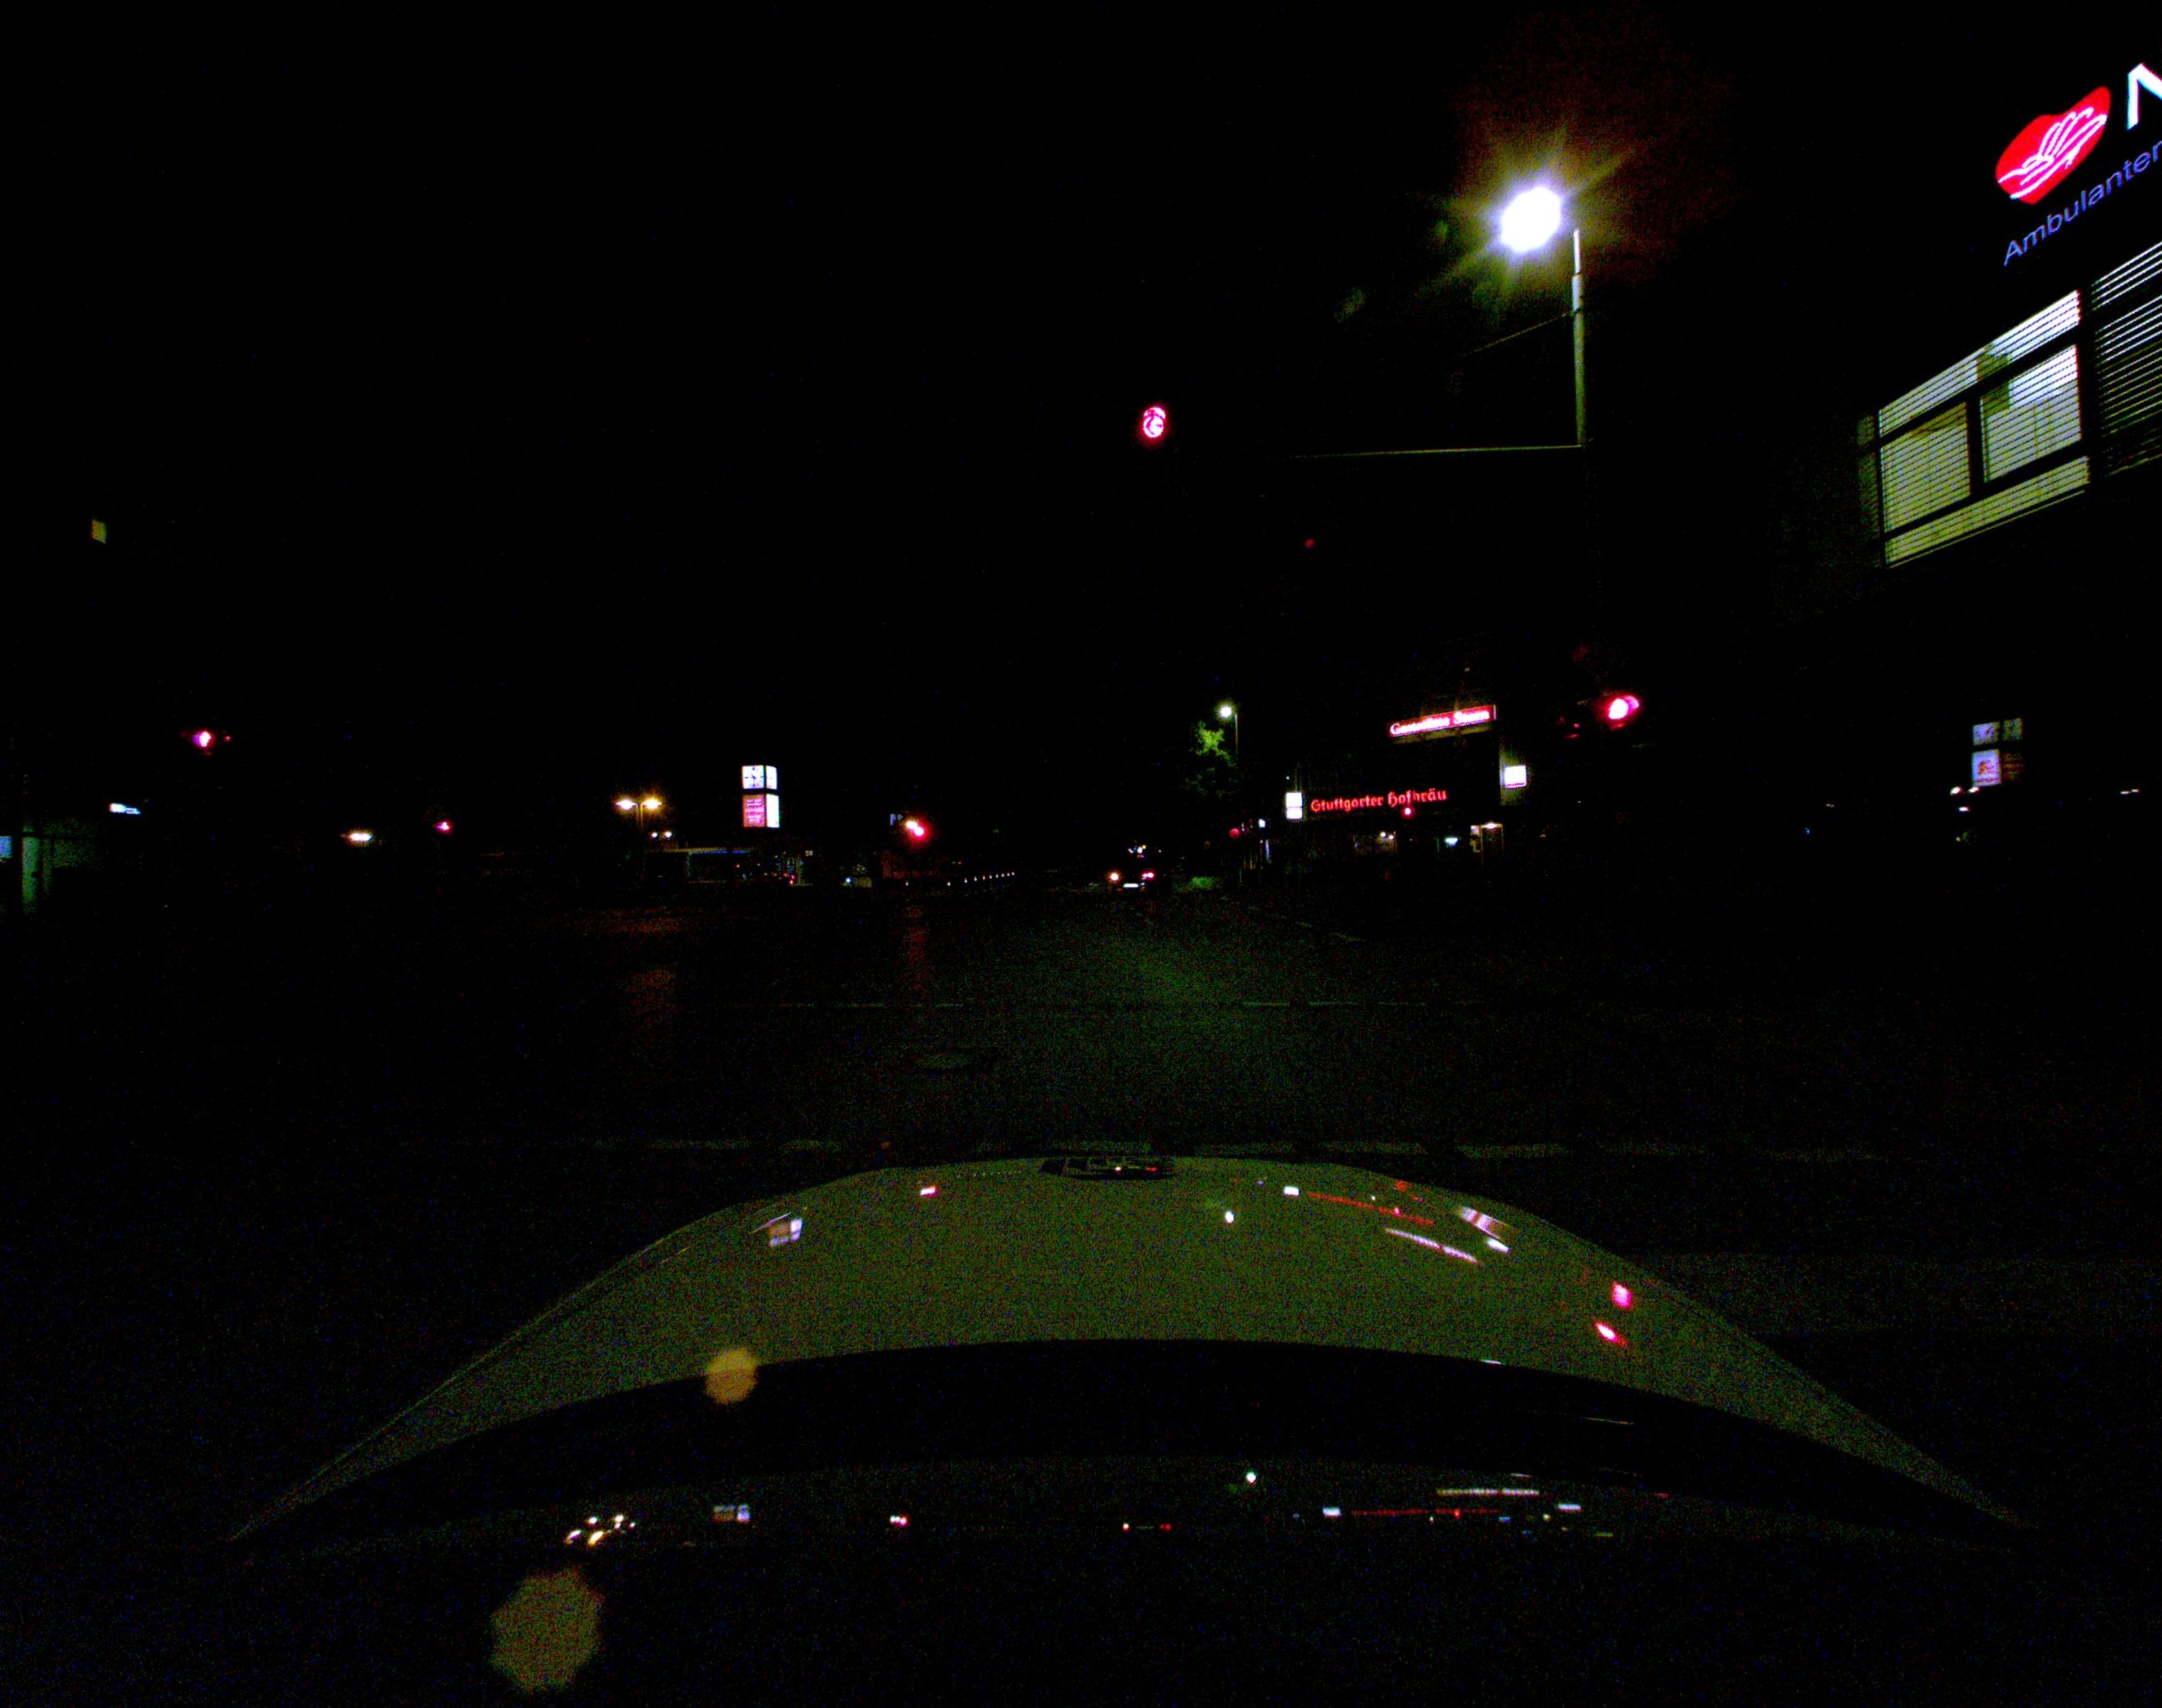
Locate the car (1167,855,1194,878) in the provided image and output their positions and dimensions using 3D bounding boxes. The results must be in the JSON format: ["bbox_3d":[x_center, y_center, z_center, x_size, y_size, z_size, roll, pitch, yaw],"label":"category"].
[{"bbox_3d":[7.699,0.954,63.439,1.868,1.615,4.005,-2,-1,5],"label":"car"}]

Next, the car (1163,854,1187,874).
[{"bbox_3d":[7.886,0.829,68.772,1.868,1.615,4.005,-2,-1,5],"label":"car"}]

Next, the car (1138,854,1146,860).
[{"bbox_3d":[17.714,0.972,235.212,2.217,1.651,4.004,-1,0,4],"label":"car"}]

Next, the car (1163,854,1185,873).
[{"bbox_3d":[8.681,0.875,76.429,1.868,1.729,4.005,-2,-1,5],"label":"car"}]

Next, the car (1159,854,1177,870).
[{"bbox_3d":[10.049,0.909,94.460,1.868,1.683,4.005,-2,-1,5],"label":"car"}]

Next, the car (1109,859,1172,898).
[{"bbox_3d":[2.506,0.943,33.141,1.860,1.454,4.332,-1,-1,14],"label":"car"}]
